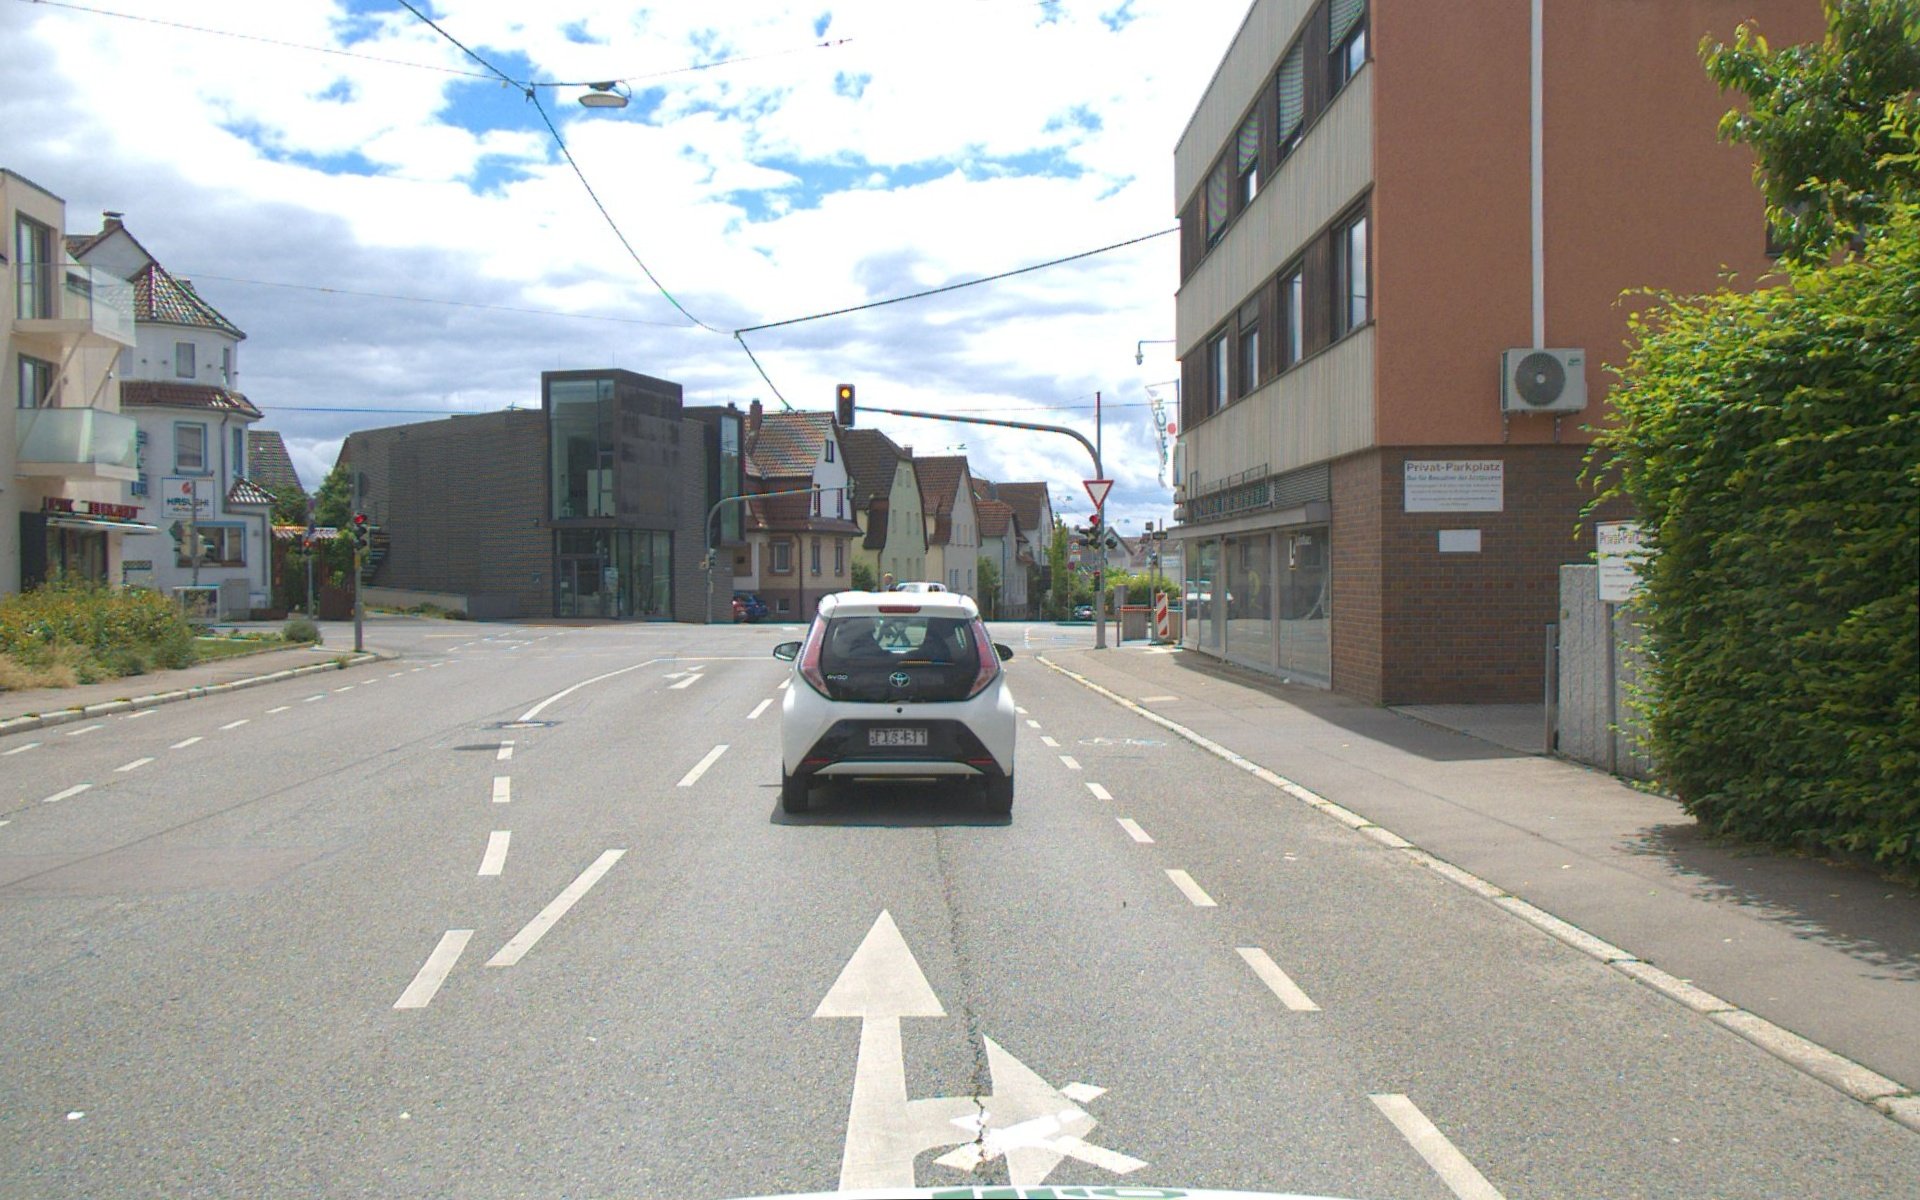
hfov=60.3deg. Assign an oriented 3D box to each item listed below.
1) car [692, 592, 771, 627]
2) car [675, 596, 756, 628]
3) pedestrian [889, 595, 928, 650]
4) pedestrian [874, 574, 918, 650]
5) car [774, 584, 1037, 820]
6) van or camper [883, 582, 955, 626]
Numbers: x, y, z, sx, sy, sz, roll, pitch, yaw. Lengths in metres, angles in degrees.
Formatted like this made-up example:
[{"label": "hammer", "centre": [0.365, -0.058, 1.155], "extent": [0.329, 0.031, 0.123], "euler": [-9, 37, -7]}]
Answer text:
[{"label": "car", "centre": [-11.397, 0.477, 82.708], "extent": [3.537, 1.633, 1.693], "euler": [2, 0, 10]}, {"label": "car", "centre": [-11.902, 0.562, 80.594], "extent": [3.537, 1.444, 1.693], "euler": [2, 0, 10]}, {"label": "pedestrian", "centre": [-1.195, 0.519, 38.415], "extent": [0.724, 1.243, 0.641], "euler": [0, 0, -24]}, {"label": "pedestrian", "centre": [-1.517, 0.276, 39.071], "extent": [0.811, 1.751, 0.812], "euler": [0, 0, -22]}, {"label": "car", "centre": [-0.437, 0.656, 12.294], "extent": [1.663, 1.482, 3.297], "euler": [1, 0, -3]}, {"label": "van or camper", "centre": [-1.888, 0.203, 77.883], "extent": [2.070, 1.959, 5.289], "euler": [1, 0, 13]}]
